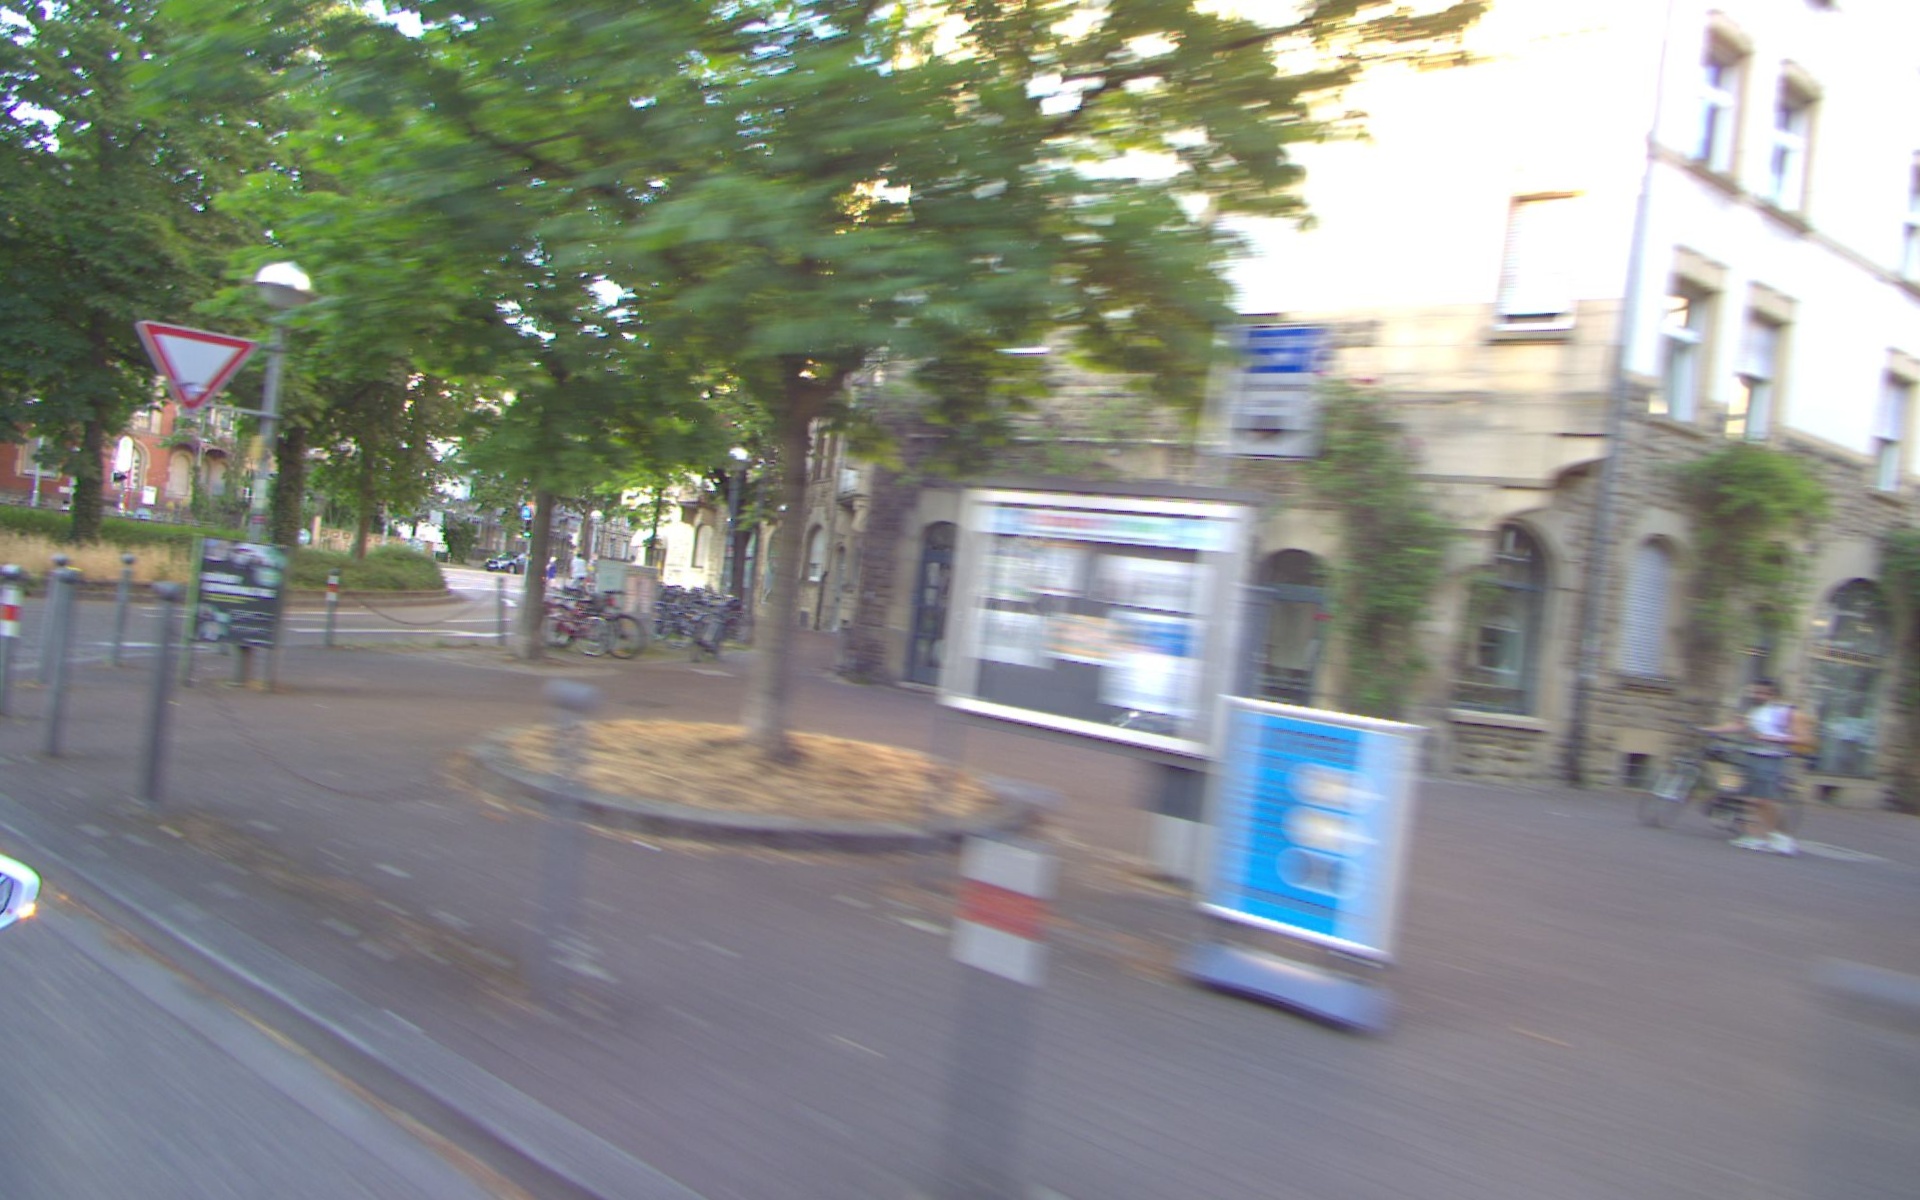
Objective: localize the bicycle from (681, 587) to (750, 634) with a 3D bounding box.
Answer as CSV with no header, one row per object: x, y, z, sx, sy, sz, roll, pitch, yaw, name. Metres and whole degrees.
-7.089,0.311,29.225,1.826,1.159,0.418,7,0,-14,bicycle

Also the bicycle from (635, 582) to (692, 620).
-11.137,0.049,37.824,1.871,1.177,0.635,7,0,-31,bicycle

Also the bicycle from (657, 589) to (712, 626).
-9.518,0.254,34.766,1.658,1.091,0.482,7,0,-32,bicycle

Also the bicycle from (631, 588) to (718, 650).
-5.888,0.395,20.811,1.579,1.076,0.418,7,0,-7,bicycle

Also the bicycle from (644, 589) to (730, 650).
-5.744,0.407,21.208,1.579,1.089,0.418,7,0,-7,bicycle

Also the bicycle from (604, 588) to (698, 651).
-6.095,0.380,19.899,1.578,1.033,0.555,7,0,-2,bicycle

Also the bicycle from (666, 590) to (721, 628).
-9.105,0.311,34.423,1.658,1.091,0.482,7,0,-32,bicycle

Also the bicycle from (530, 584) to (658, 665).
-5.871,0.389,16.127,1.863,1.052,0.432,7,0,10,bicycle

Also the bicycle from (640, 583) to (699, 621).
-10.741,0.089,37.181,1.871,1.177,0.699,7,0,-31,bicycle

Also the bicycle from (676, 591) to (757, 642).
-6.166,0.421,25.551,1.890,1.078,0.551,7,0,-13,bicycle

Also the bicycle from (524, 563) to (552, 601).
-15.502,-0.677,36.914,0.691,1.252,1.850,7,0,-27,bicycle

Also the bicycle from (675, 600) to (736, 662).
-4.397,0.536,17.462,0.424,0.981,1.727,7,0,3,bicycle

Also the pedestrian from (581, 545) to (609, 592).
-17.359,-1.493,47.877,0.998,2.112,1.057,6,1,-16,pedestrian

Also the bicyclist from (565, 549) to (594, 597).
-12.292,-0.873,32.524,0.690,1.429,0.861,7,0,-19,bicyclist

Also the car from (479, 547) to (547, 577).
-30.923,-2.613,69.798,1.913,1.528,4.423,7,-1,13,car

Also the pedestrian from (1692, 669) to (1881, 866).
8.450,1.692,10.319,0.991,1.811,0.976,6,1,-20,pedestrian

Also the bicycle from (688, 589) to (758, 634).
-7.011,0.350,29.784,1.840,1.117,0.568,7,0,-37,bicycle

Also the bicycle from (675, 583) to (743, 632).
-7.513,0.237,30.157,1.855,1.229,0.492,7,-6,-14,bicycle

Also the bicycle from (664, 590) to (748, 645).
-5.965,0.413,23.686,1.766,1.076,0.447,7,0,-10,bicycle

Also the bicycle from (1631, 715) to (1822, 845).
8.257,1.940,10.837,1.887,1.203,0.632,6,1,-21,bicycle

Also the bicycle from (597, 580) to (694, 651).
-6.068,0.303,19.456,1.578,1.162,0.555,7,0,-2,bicycle

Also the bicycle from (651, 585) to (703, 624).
-10.116,0.160,35.972,1.653,1.144,0.483,7,6,-23,bicycle

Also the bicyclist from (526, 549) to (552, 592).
-15.451,-1.073,36.904,0.691,1.479,0.778,7,0,-28,bicyclist

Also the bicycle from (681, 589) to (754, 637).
-6.599,0.357,27.399,1.826,1.064,0.418,7,0,-14,bicycle

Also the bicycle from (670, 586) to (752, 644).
-5.956,0.362,24.098,1.766,1.182,0.447,7,0,-10,bicycle

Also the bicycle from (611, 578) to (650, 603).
-18.430,-0.550,56.289,1.855,1.144,0.727,7,0,-26,bicycle

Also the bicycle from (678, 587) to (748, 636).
-7.019,0.328,28.619,1.826,1.095,0.421,7,-19,-14,bicycle

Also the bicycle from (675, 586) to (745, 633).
-7.590,0.292,30.560,1.864,1.154,0.488,9,3,-28,bicycle

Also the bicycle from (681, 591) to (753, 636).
-6.674,0.371,27.681,1.826,1.012,0.418,7,0,-14,bicycle

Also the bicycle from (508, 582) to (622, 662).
-6.195,0.348,15.806,1.577,1.052,0.432,7,0,10,bicycle

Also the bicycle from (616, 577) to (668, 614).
-12.724,-0.161,40.277,1.780,1.252,0.692,7,0,-41,bicycle

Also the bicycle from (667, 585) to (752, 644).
-6.155,0.357,24.805,1.890,1.215,0.551,7,0,-13,bicycle

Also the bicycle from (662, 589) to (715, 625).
-9.674,0.246,35.854,1.654,1.091,0.483,7,0,-25,bicycle

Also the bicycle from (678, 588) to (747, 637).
-7.094,0.366,28.870,1.826,1.133,0.421,7,-19,-14,bicycle

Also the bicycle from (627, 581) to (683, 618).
-11.628,-0.002,38.380,1.878,1.176,0.633,7,0,-41,bicycle

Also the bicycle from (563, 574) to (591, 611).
-12.353,-0.246,32.493,0.690,1.068,1.785,7,0,-19,bicycle

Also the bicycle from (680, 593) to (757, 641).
-6.255,0.437,26.095,1.824,1.027,0.418,7,0,-10,bicycle

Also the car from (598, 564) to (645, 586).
-30.697,-2.247,91.273,1.972,1.444,4.635,7,-1,9,car

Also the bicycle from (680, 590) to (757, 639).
-6.444,0.391,26.940,1.890,1.074,0.534,7,0,-13,bicycle

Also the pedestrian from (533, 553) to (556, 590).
-21.789,-1.481,52.779,0.857,1.817,0.920,7,1,-19,pedestrian

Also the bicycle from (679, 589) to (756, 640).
-6.342,0.382,26.407,1.824,1.130,0.418,7,0,-10,bicycle
